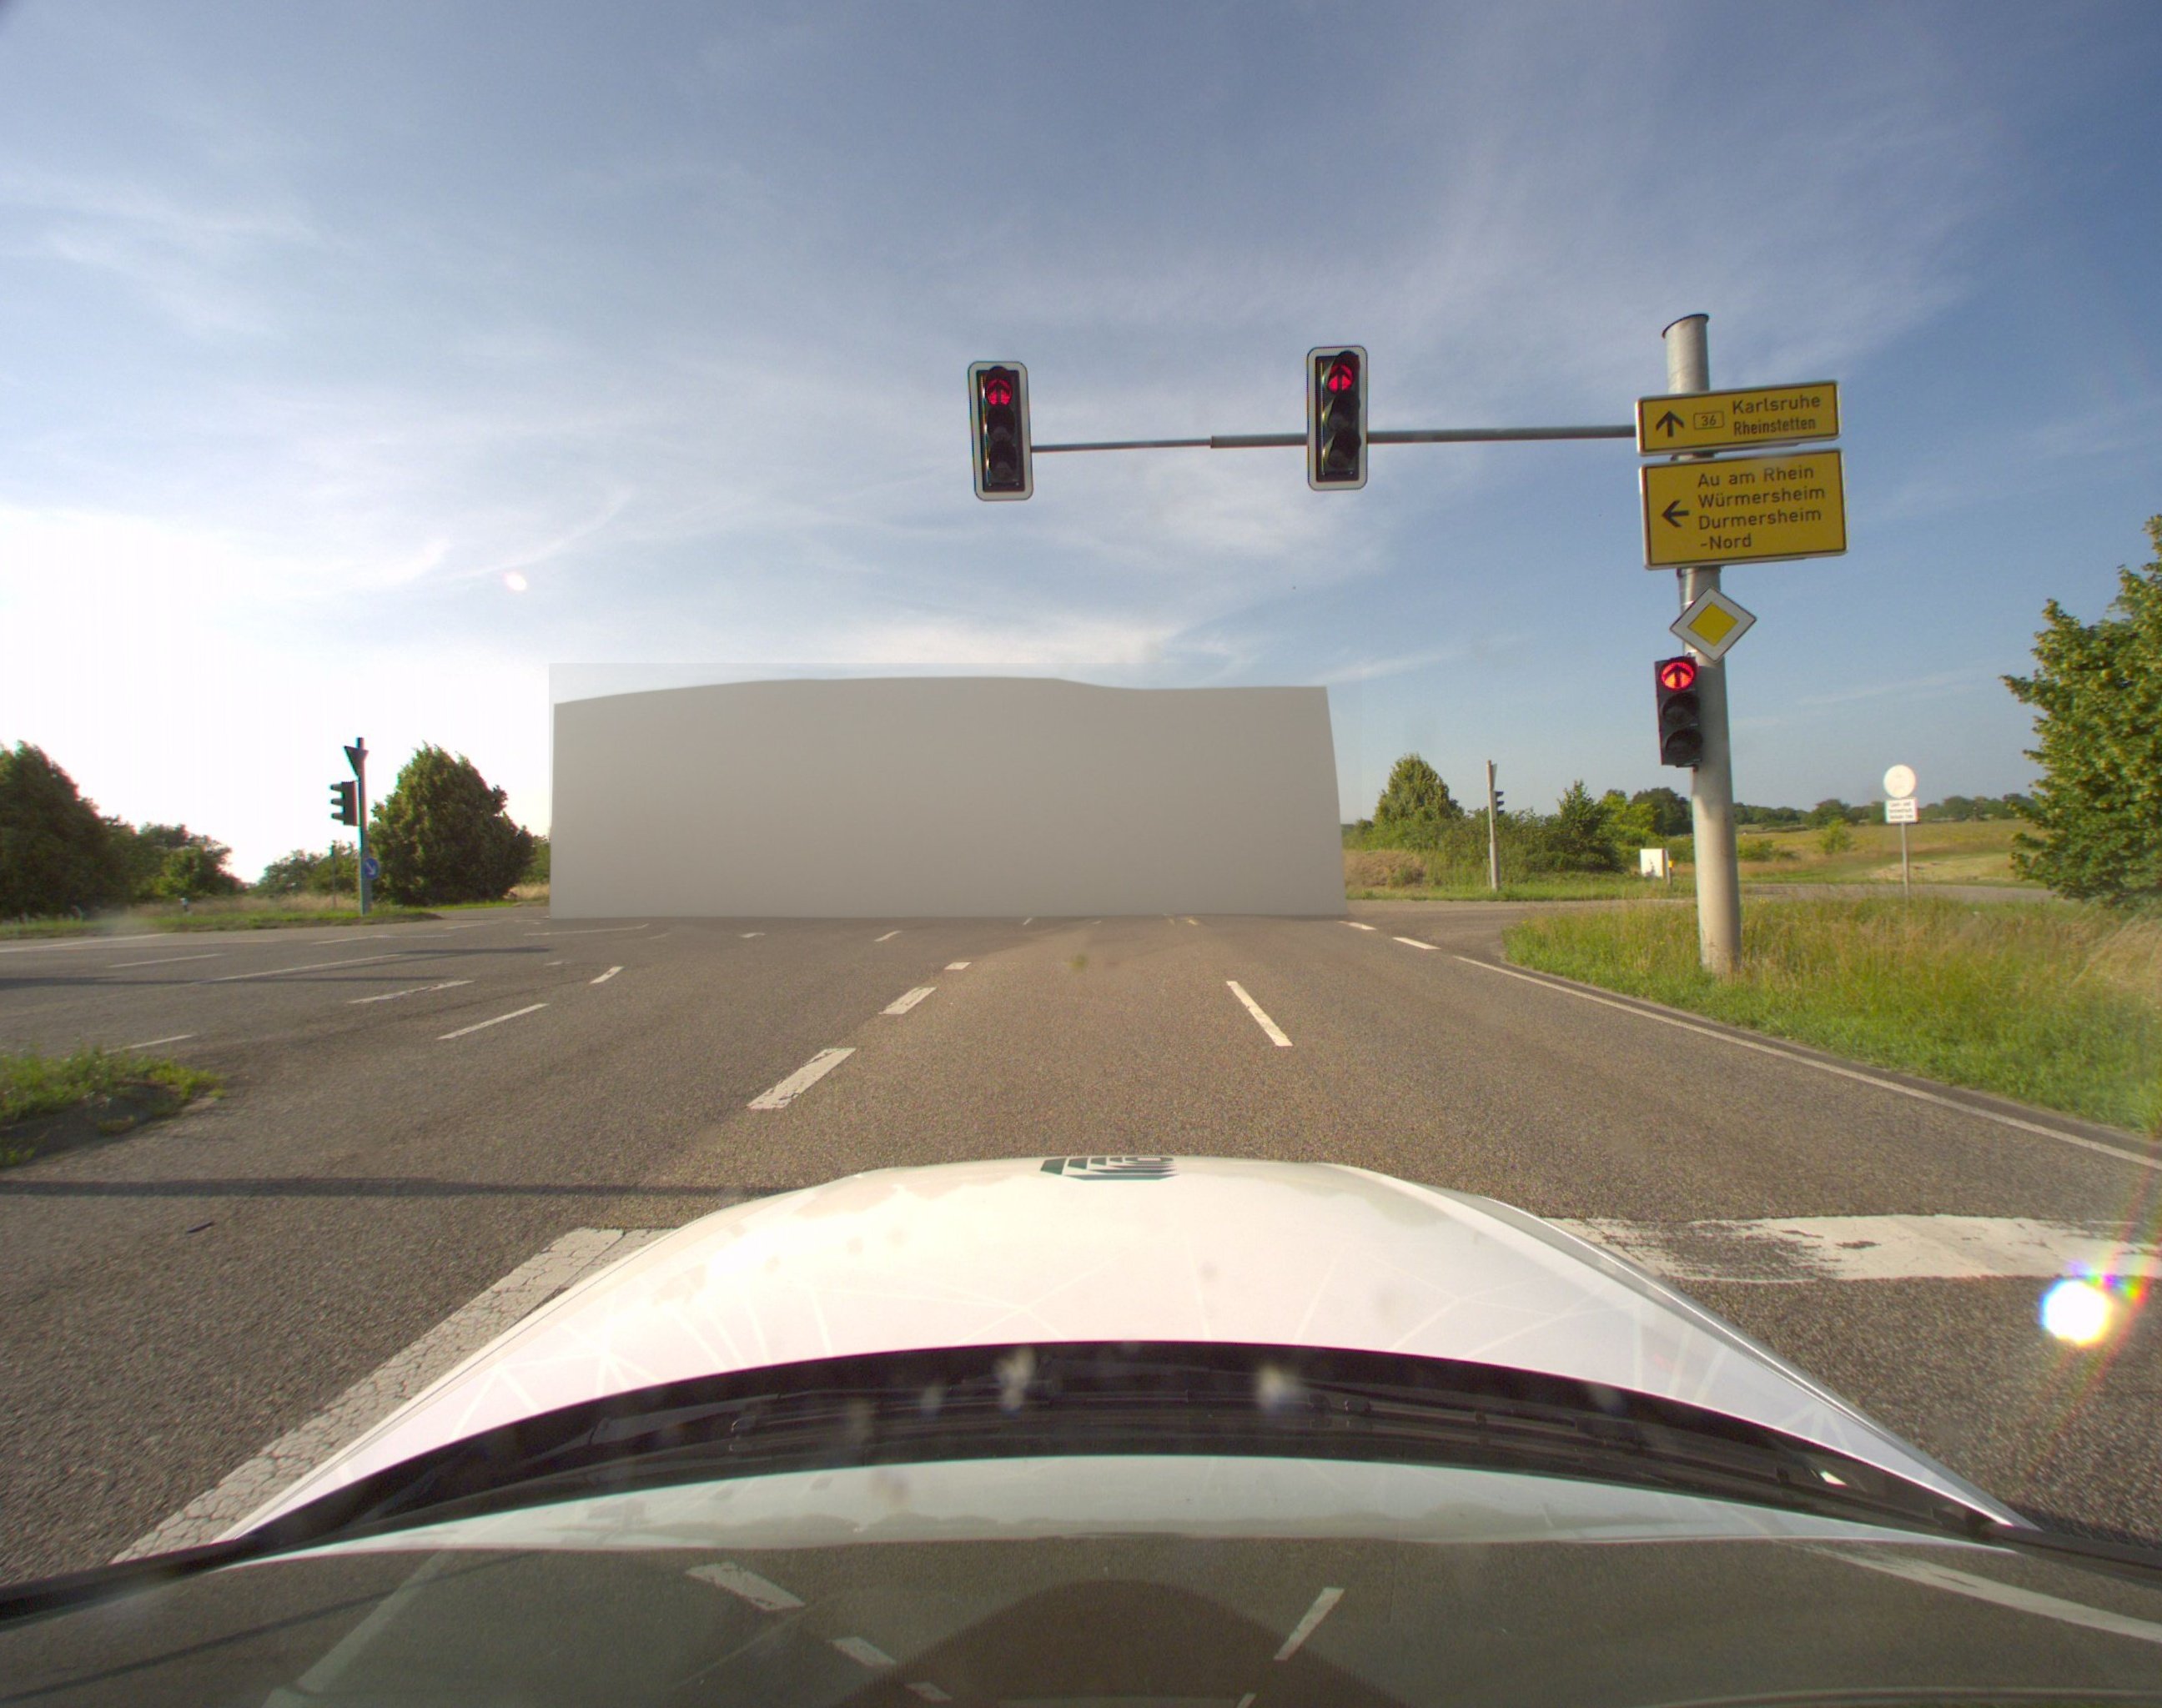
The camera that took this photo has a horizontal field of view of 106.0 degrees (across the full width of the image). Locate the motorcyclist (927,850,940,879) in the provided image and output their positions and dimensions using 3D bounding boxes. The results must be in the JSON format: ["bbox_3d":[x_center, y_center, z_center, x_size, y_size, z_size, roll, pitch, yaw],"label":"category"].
[{"bbox_3d":[-8.990,0.644,49.583,0.660,1.747,0.605,-2,0,-1],"label":"motorcyclist"}]

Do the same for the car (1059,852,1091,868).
[{"bbox_3d":[-0.480,0.507,73.874,1.772,1.385,4.068,-2,0,16],"label":"car"}]

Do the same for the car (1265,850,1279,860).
[{"bbox_3d":[30.794,0.205,131.262,1.900,1.416,3.811,-1,-1,15],"label":"car"}]

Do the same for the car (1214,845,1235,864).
[{"bbox_3d":[13.195,0.083,74.817,1.773,1.605,4.207,-1,-1,10],"label":"car"}]

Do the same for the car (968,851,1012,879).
[{"bbox_3d":[-5.495,0.638,49.705,1.777,1.568,4.058,-2,0,6],"label":"car"}]

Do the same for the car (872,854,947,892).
[{"bbox_3d":[-7.304,0.765,35.151,1.777,1.488,4.659,-2,0,6],"label":"car"}]

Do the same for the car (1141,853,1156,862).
[{"bbox_3d":[10.252,0.524,123.176,1.394,1.402,3.439,-2,0,19],"label":"car"}]

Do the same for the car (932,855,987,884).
[{"bbox_3d":[-6.408,0.780,43.409,1.777,1.433,4.316,-2,0,6],"label":"car"}]

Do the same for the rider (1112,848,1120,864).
[{"bbox_3d":[4.733,0.254,109.092,0.861,2.013,0.775,-2,0,17],"label":"rider"}]

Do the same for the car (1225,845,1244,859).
[{"bbox_3d":[17.756,-0.190,94.044,1.796,1.565,4.549,-1,0,15],"label":"car"}]

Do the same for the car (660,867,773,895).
[{"bbox_3d":[-16.993,1.223,38.189,1.974,1.101,4.505,-2,0,29],"label":"car"}]

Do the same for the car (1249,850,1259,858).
[{"bbox_3d":[32.340,0.056,152.037,1.760,1.492,3.999,-1,0,13],"label":"car"}]

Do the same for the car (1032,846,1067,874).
[{"bbox_3d":[-2.499,0.441,65.225,1.913,2.078,4.255,-2,0,10],"label":"car"}]

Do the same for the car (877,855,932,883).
[{"bbox_3d":[-9.724,0.795,45.177,1.777,1.433,4.058,-2,0,6],"label":"car"}]

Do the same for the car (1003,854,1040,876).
[{"bbox_3d":[-4.010,0.745,55.928,1.777,1.385,4.058,-2,0,6],"label":"car"}]

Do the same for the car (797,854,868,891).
[{"bbox_3d":[-11.014,0.779,36.291,1.713,1.488,3.808,-2,0,4],"label":"car"}]

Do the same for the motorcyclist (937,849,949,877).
[{"bbox_3d":[-8.906,0.571,52.498,0.660,1.817,0.605,-2,0,-1],"label":"motorcyclist"}]

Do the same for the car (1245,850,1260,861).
[{"bbox_3d":[23.159,0.192,109.854,1.760,1.492,4.001,-1,0,15],"label":"car"}]

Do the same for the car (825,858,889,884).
[{"bbox_3d":[-12.975,0.963,47.477,1.647,1.326,4.230,-2,0,14],"label":"car"}]

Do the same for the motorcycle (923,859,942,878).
[{"bbox_3d":[-9.019,0.857,49.547,0.870,1.097,1.468,-2,0,0],"label":"motorcycle"}]
